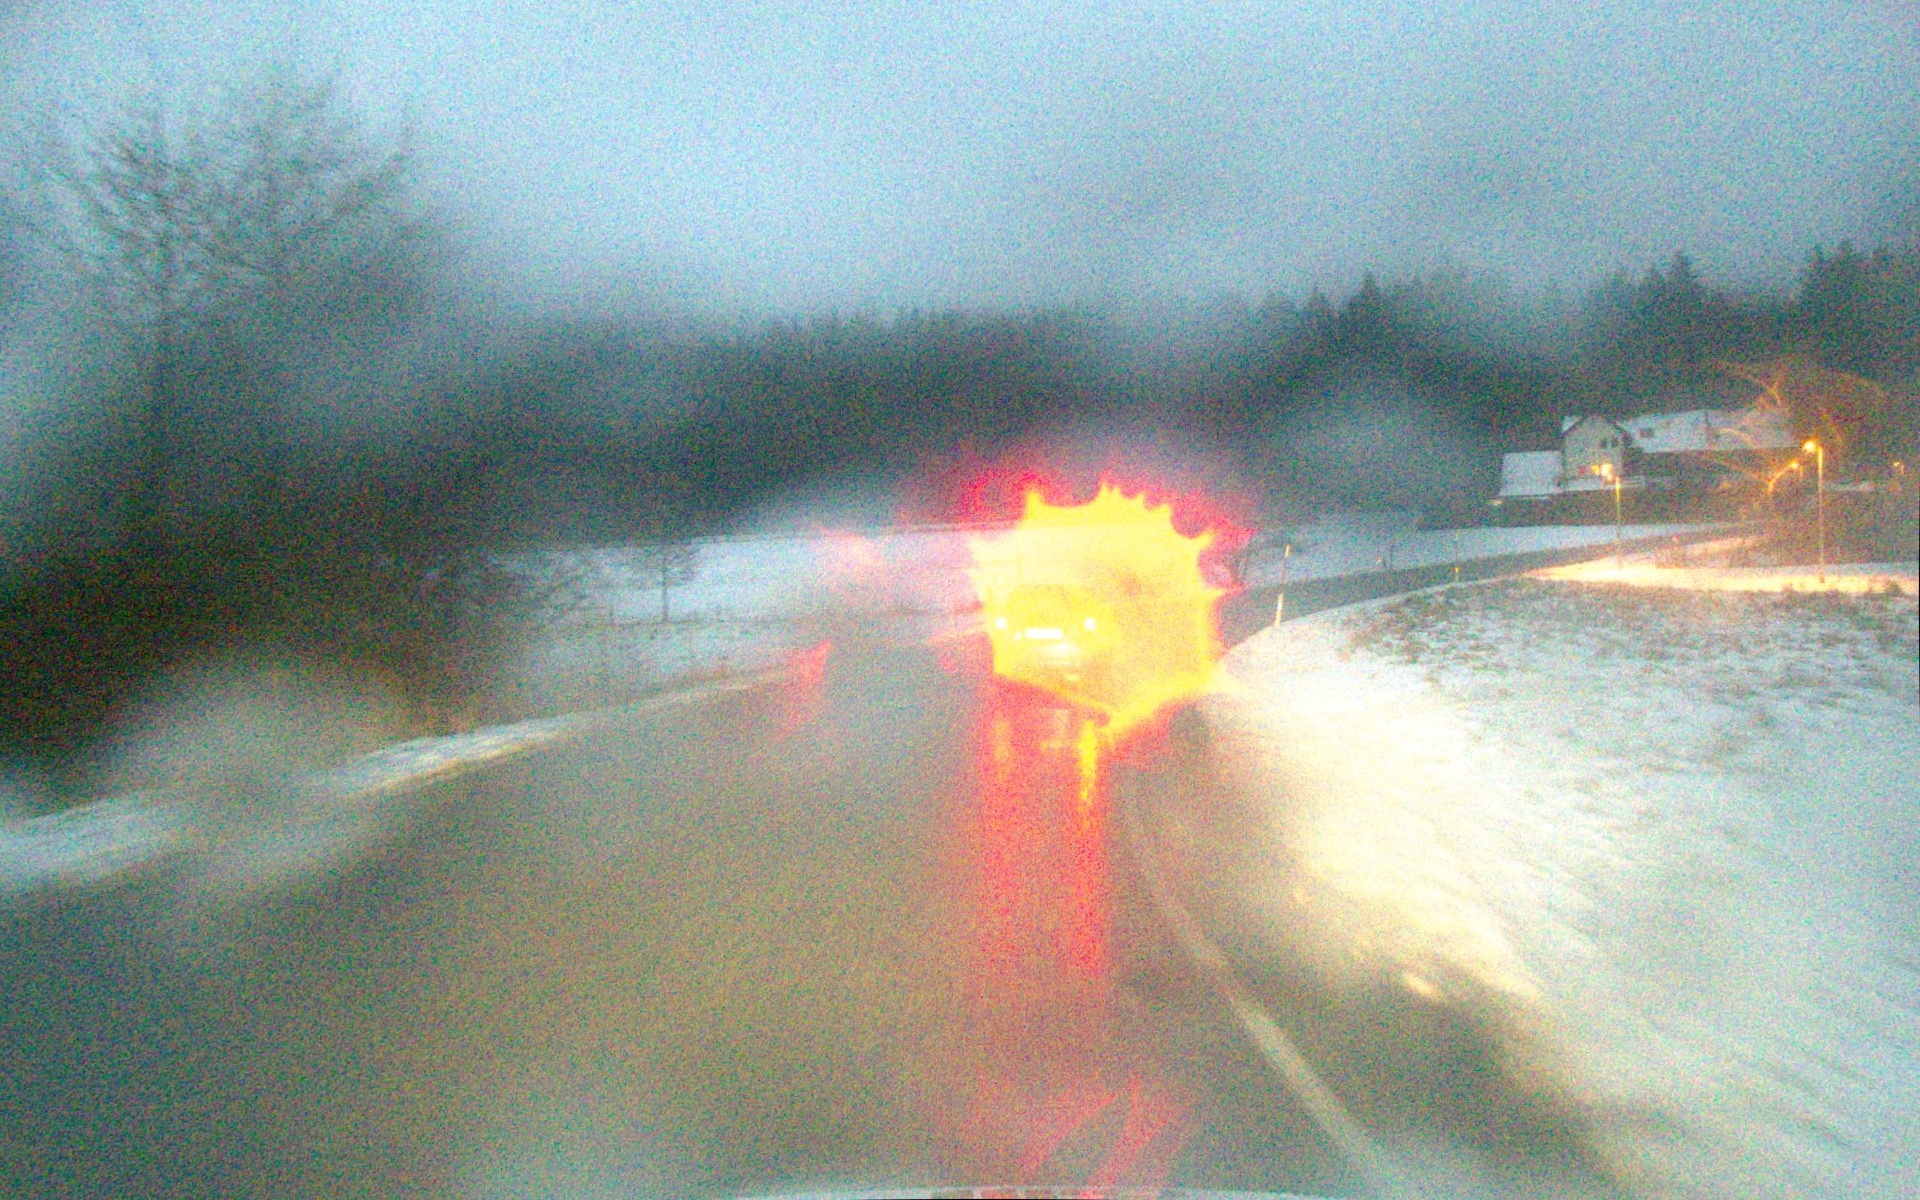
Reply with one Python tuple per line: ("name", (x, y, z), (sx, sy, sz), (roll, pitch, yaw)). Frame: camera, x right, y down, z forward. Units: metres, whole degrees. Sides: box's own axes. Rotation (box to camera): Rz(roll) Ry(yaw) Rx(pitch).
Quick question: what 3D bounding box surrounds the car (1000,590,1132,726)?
("car", (1.565, 0.797, 24.862), (1.784, 1.828, 3.579), (-2, 0, 3))
